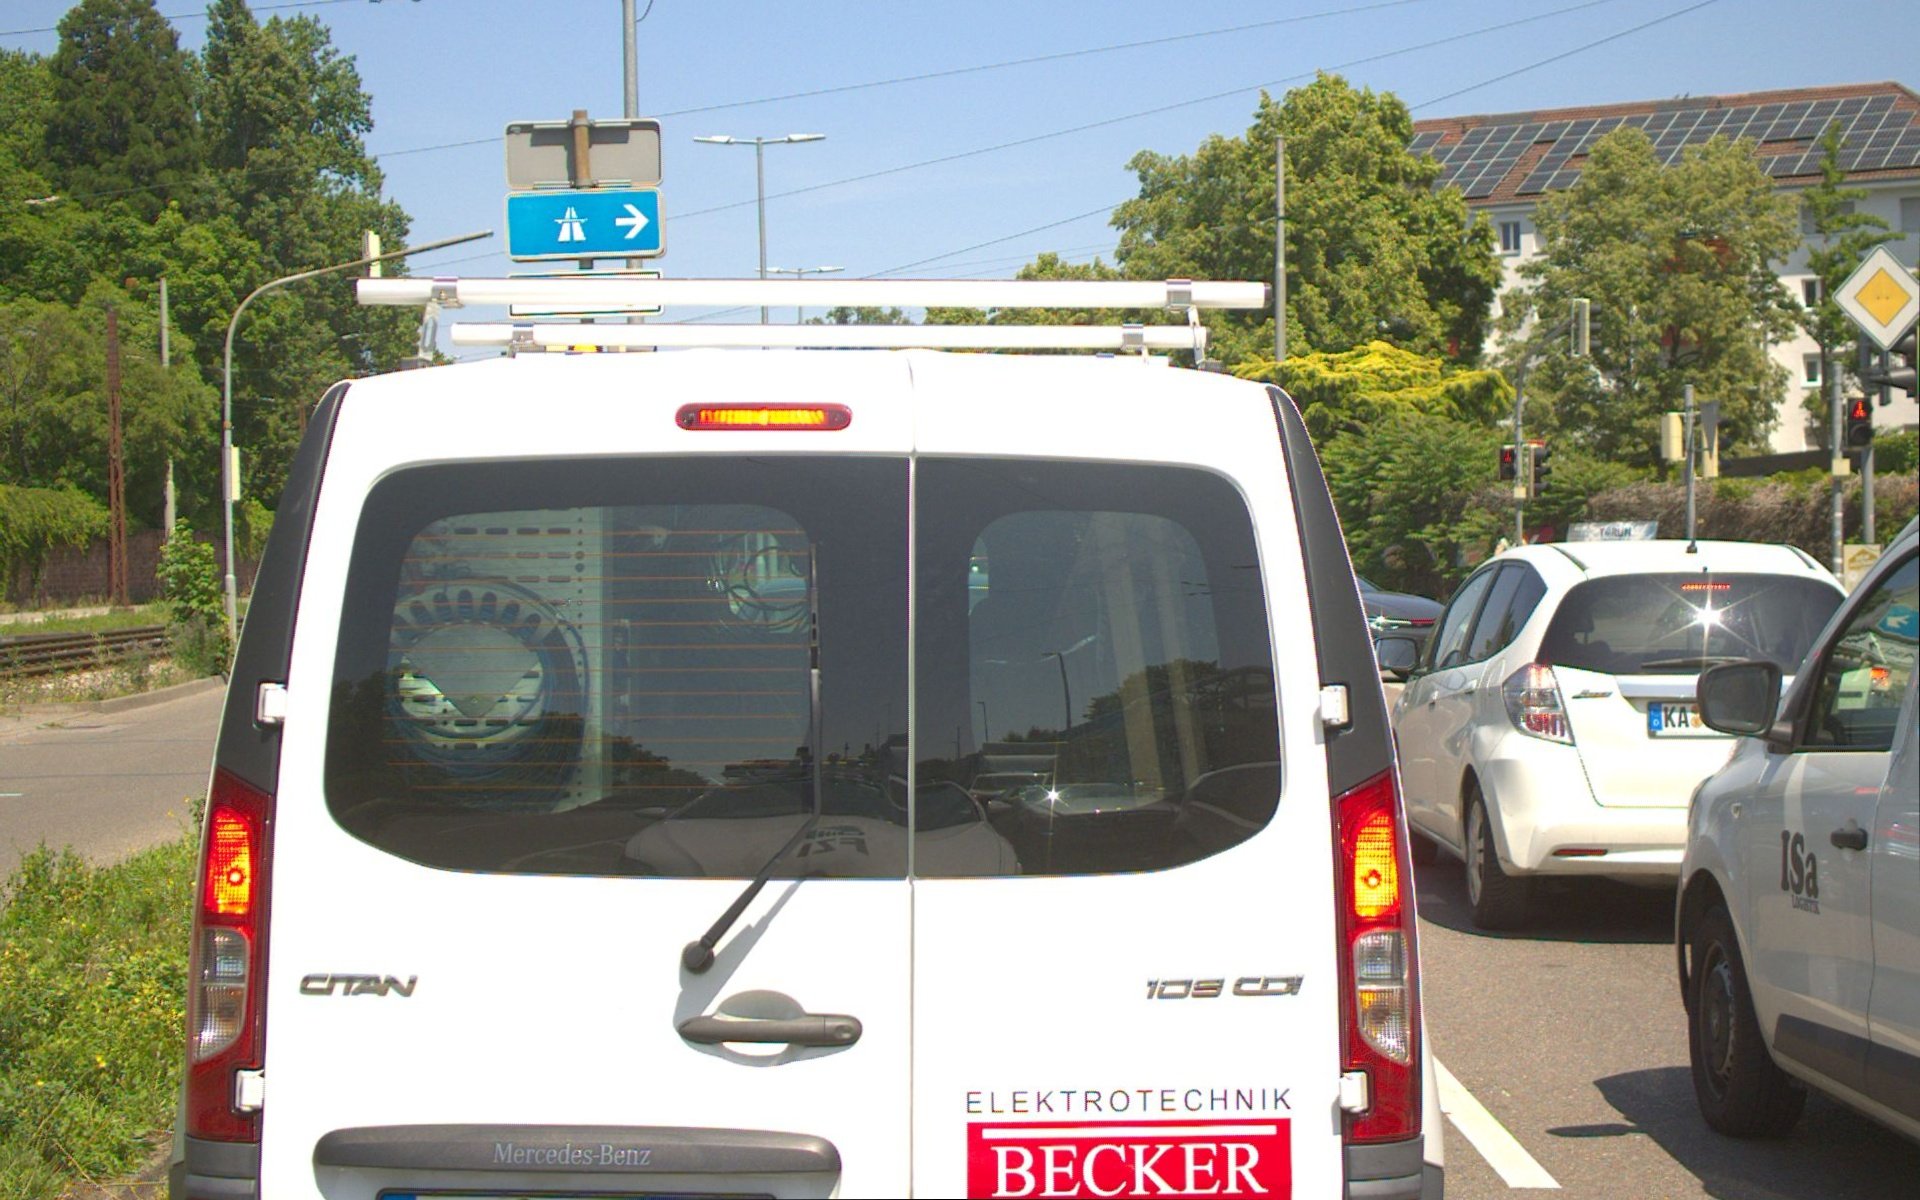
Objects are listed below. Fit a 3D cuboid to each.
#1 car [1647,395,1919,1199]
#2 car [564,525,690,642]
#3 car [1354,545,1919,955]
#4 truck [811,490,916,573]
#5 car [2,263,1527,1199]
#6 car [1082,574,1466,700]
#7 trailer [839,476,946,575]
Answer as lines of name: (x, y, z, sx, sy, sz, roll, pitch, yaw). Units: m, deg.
car: (2.764, 0.500, 7.189, 1.710, 1.824, 4.014, 0, 1, -2)
car: (-5.934, -0.314, 61.642, 1.993, 2.007, 4.000, -1, 1, -2)
car: (2.814, 0.522, 14.650, 1.756, 1.481, 4.000, 1, 1, -1)
truck: (-4.396, -3.074, 154.519, 3.575, 3.620, 8.811, -1, 1, -9)
car: (-0.287, 0.479, 6.169, 1.866, 1.829, 3.849, 1, 1, -1)
car: (3.454, 0.386, 37.991, 3.879, 1.307, 1.694, 0, 1, 33)
trailer: (-2.937, -3.147, 145.664, 3.527, 4.037, 8.979, -1, 1, -7)
